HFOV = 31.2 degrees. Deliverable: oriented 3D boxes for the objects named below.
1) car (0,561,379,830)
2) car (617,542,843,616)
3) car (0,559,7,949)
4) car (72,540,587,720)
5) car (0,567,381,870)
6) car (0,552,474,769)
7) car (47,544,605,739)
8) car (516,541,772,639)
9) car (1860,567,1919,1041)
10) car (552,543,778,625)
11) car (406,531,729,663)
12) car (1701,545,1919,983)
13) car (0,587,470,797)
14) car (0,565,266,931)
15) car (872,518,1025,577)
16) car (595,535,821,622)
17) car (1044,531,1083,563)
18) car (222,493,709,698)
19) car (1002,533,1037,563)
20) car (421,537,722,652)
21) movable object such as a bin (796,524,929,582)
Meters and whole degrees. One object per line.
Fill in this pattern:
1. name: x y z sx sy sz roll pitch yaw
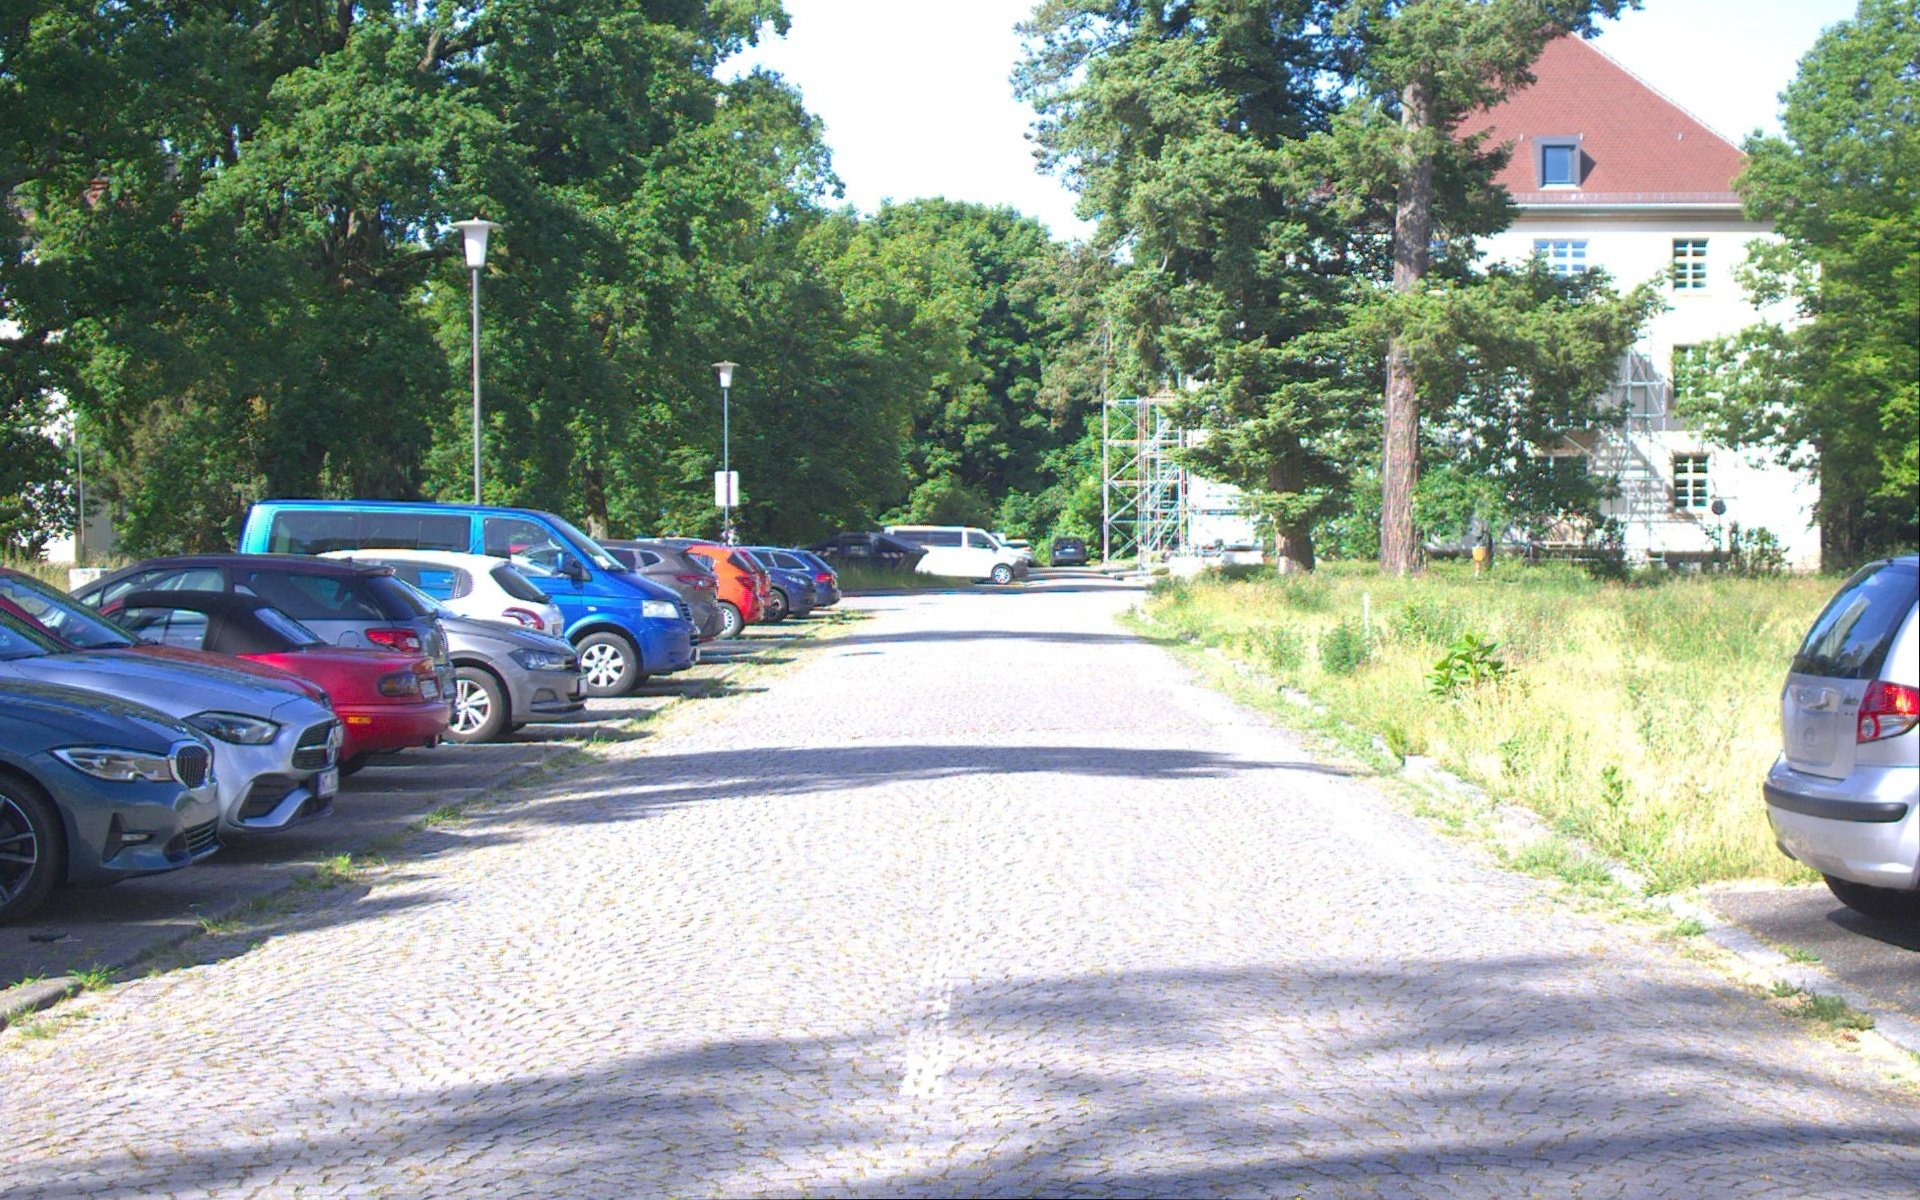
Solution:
1. car: -5.957 0.486 19.760 4.865 1.416 1.938 1 1 1
2. car: -4.656 -0.441 70.012 4.360 1.440 1.920 1 1 4
3. car: -5.627 0.577 12.069 4.026 1.478 1.949 1 2 -1
4. car: -5.528 0.241 30.501 4.196 1.470 1.824 1 1 1
5. car: -5.548 0.528 17.409 4.865 1.416 1.938 1 0 1
6. car: -5.696 0.405 24.736 4.077 1.447 1.821 1 0 2
7. car: -5.020 0.307 27.609 4.077 1.420 1.923 1 1 2
8. car: -5.021 -0.168 55.034 3.923 1.456 1.842 1 2 -1
9. car: 4.910 0.540 10.046 4.004 1.436 1.844 -3 1 -1
10. car: -5.367 -0.303 62.946 3.923 1.428 1.842 1 1 2
11. car: -5.060 -0.060 44.724 3.953 1.562 1.974 1 2 -1
12. car: 4.859 0.477 12.791 3.740 1.471 1.752 -3 1 -1
13. car: -5.115 0.557 22.058 3.630 1.230 1.760 1 0 2
14. car: -5.439 0.555 14.687 4.580 1.447 1.985 1 1 -2
15. car: -0.391 -1.816 118.806 5.234 2.009 1.950 0 1 0
16. car: -4.758 -0.422 65.329 4.135 1.574 1.884 0 1 1
17. car: 5.576 -2.851 185.012 1.971 1.662 4.086 -1 1 0
18. car: -5.080 -0.058 35.768 4.717 1.961 2.005 1 1 1
19. car: 3.169 -2.774 184.758 1.812 1.574 4.135 -1 1 0
20. car: -5.323 -0.094 47.461 3.923 1.444 1.867 1 2 -1
21. movable object such as a bin: -2.990 -1.460 105.760 3.569 1.738 2.023 0 1 20
